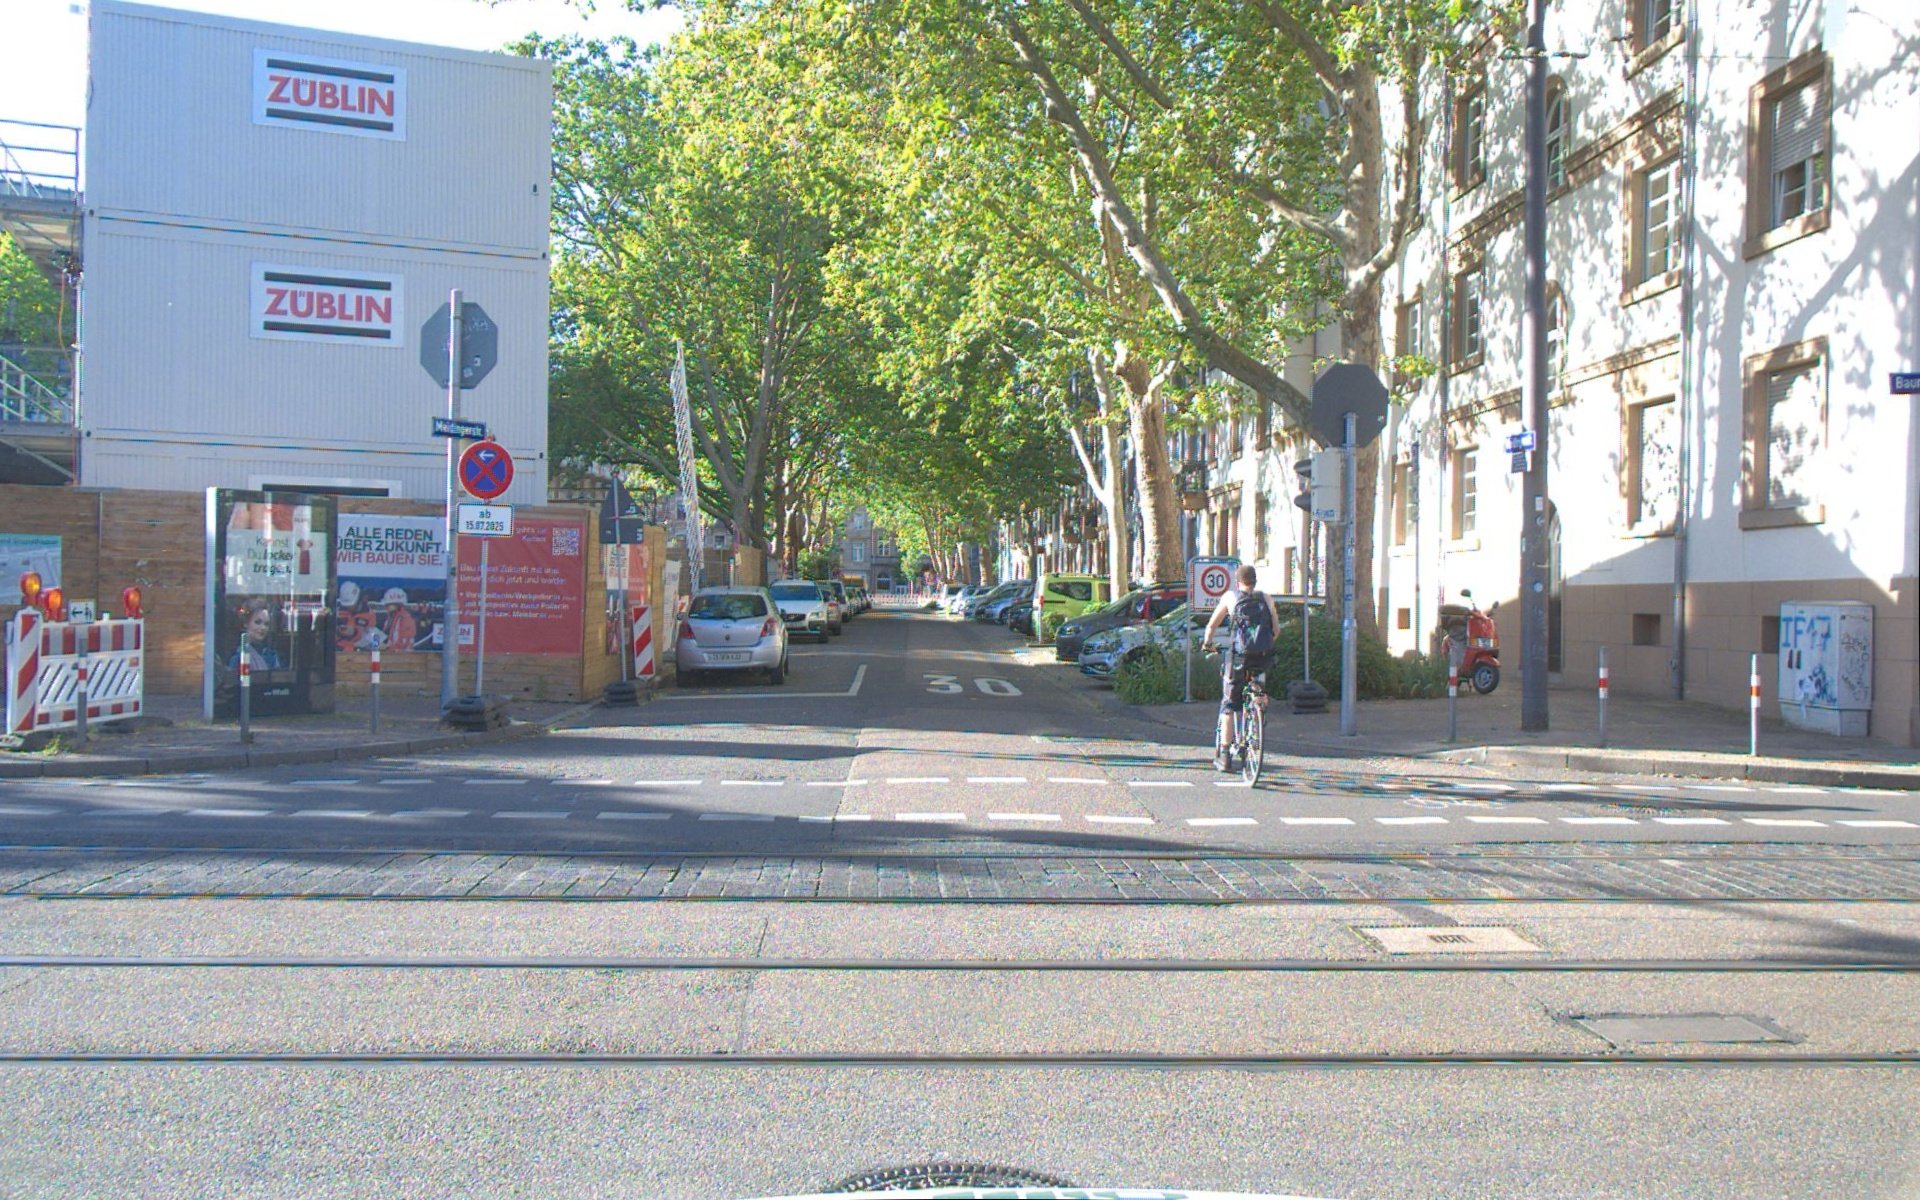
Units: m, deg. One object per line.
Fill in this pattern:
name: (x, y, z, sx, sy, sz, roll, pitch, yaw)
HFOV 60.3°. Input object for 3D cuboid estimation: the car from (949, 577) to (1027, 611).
car: (1.586, -0.341, 95.325, 4.373, 1.931, 1.727, 1, 0, -4)

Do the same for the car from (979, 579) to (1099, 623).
car: (2.972, 0.044, 62.901, 4.373, 1.598, 1.727, 1, 0, -4)

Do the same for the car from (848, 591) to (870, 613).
car: (-7.686, 0.115, 125.999, 1.632, 1.590, 4.216, 1, 1, -4)

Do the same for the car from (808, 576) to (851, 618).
car: (-5.150, -0.143, 65.372, 1.632, 1.590, 4.612, 1, 1, -4)

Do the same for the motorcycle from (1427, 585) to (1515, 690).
motorcycle: (6.893, 0.477, 22.374, 0.503, 1.356, 1.762, 1, 1, -5)

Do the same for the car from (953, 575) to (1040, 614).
car: (1.880, -0.295, 85.384, 4.373, 1.931, 1.727, 1, 0, -4)

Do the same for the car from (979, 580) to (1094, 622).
car: (2.996, 0.043, 65.379, 4.373, 1.598, 1.727, 1, 0, -4)

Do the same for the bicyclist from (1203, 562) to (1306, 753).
bicyclist: (2.450, 0.466, 13.823, 0.663, 1.539, 0.668, 2, 0, -3)

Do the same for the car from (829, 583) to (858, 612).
car: (-6.774, -0.168, 96.348, 1.632, 1.590, 4.216, 1, 1, -4)

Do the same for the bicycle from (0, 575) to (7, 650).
bicycle: (-17.344, 0.216, 28.036, 2.031, 1.279, 0.464, 0, 1, -41)

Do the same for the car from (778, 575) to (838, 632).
car: (-4.423, 0.083, 48.638, 1.632, 1.590, 4.515, 1, 1, -4)

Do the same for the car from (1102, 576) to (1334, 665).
car: (5.154, 0.394, 33.367, 4.373, 1.700, 1.727, 1, 0, -4)

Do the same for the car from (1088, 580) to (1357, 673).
car: (4.529, 0.442, 28.877, 4.373, 1.526, 1.727, 1, 0, -4)

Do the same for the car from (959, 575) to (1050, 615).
car: (2.193, -0.276, 82.527, 4.373, 1.931, 1.727, 1, 0, -4)

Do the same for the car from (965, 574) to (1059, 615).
car: (2.486, -0.256, 79.772, 4.373, 1.931, 1.727, 1, 0, -4)

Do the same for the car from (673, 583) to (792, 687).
car: (-3.618, 0.503, 26.866, 1.611, 1.520, 3.997, -2, 1, -4)

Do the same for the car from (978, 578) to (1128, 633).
car: (2.793, 0.148, 50.280, 4.373, 1.598, 1.727, 1, 0, -4)

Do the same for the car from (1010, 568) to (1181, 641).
car: (3.597, 0.120, 44.358, 4.374, 1.868, 1.727, 1, 0, -4)

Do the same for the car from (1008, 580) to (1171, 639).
car: (3.601, 0.253, 46.376, 4.373, 1.598, 1.727, 1, 0, -4)

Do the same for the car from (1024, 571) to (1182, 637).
car: (4.150, 0.109, 48.345, 4.374, 1.868, 1.727, 1, 0, -4)

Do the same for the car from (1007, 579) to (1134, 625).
car: (3.959, 0.055, 59.743, 4.373, 1.598, 1.727, 1, 0, -4)

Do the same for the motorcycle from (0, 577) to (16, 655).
motorcycle: (-16.763, 0.266, 27.118, 2.191, 1.279, 0.535, 0, 1, -41)

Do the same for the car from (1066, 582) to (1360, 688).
car: (3.974, 0.535, 26.393, 4.373, 1.598, 1.727, 1, 0, -4)

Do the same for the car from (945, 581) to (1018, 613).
car: (1.316, -0.170, 102.748, 4.373, 1.931, 1.727, 1, 0, -4)

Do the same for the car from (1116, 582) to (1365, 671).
car: (5.250, 0.477, 31.283, 4.373, 1.598, 1.727, 1, 0, -4)

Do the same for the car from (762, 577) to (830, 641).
car: (-4.223, 0.207, 43.112, 1.632, 1.590, 3.997, 1, 1, -4)

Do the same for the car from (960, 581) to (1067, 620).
car: (2.256, 0.017, 70.115, 4.373, 1.598, 1.727, 1, 0, -4)

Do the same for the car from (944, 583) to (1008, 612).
car: (1.093, -0.197, 114.921, 4.373, 1.931, 1.727, 1, 0, -4)

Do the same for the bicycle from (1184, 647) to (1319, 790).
bicycle: (2.427, 0.959, 13.970, 0.676, 1.034, 1.906, 2, 0, -3)

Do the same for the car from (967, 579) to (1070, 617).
car: (2.532, -0.091, 72.449, 4.373, 1.598, 1.727, 1, 0, -4)
